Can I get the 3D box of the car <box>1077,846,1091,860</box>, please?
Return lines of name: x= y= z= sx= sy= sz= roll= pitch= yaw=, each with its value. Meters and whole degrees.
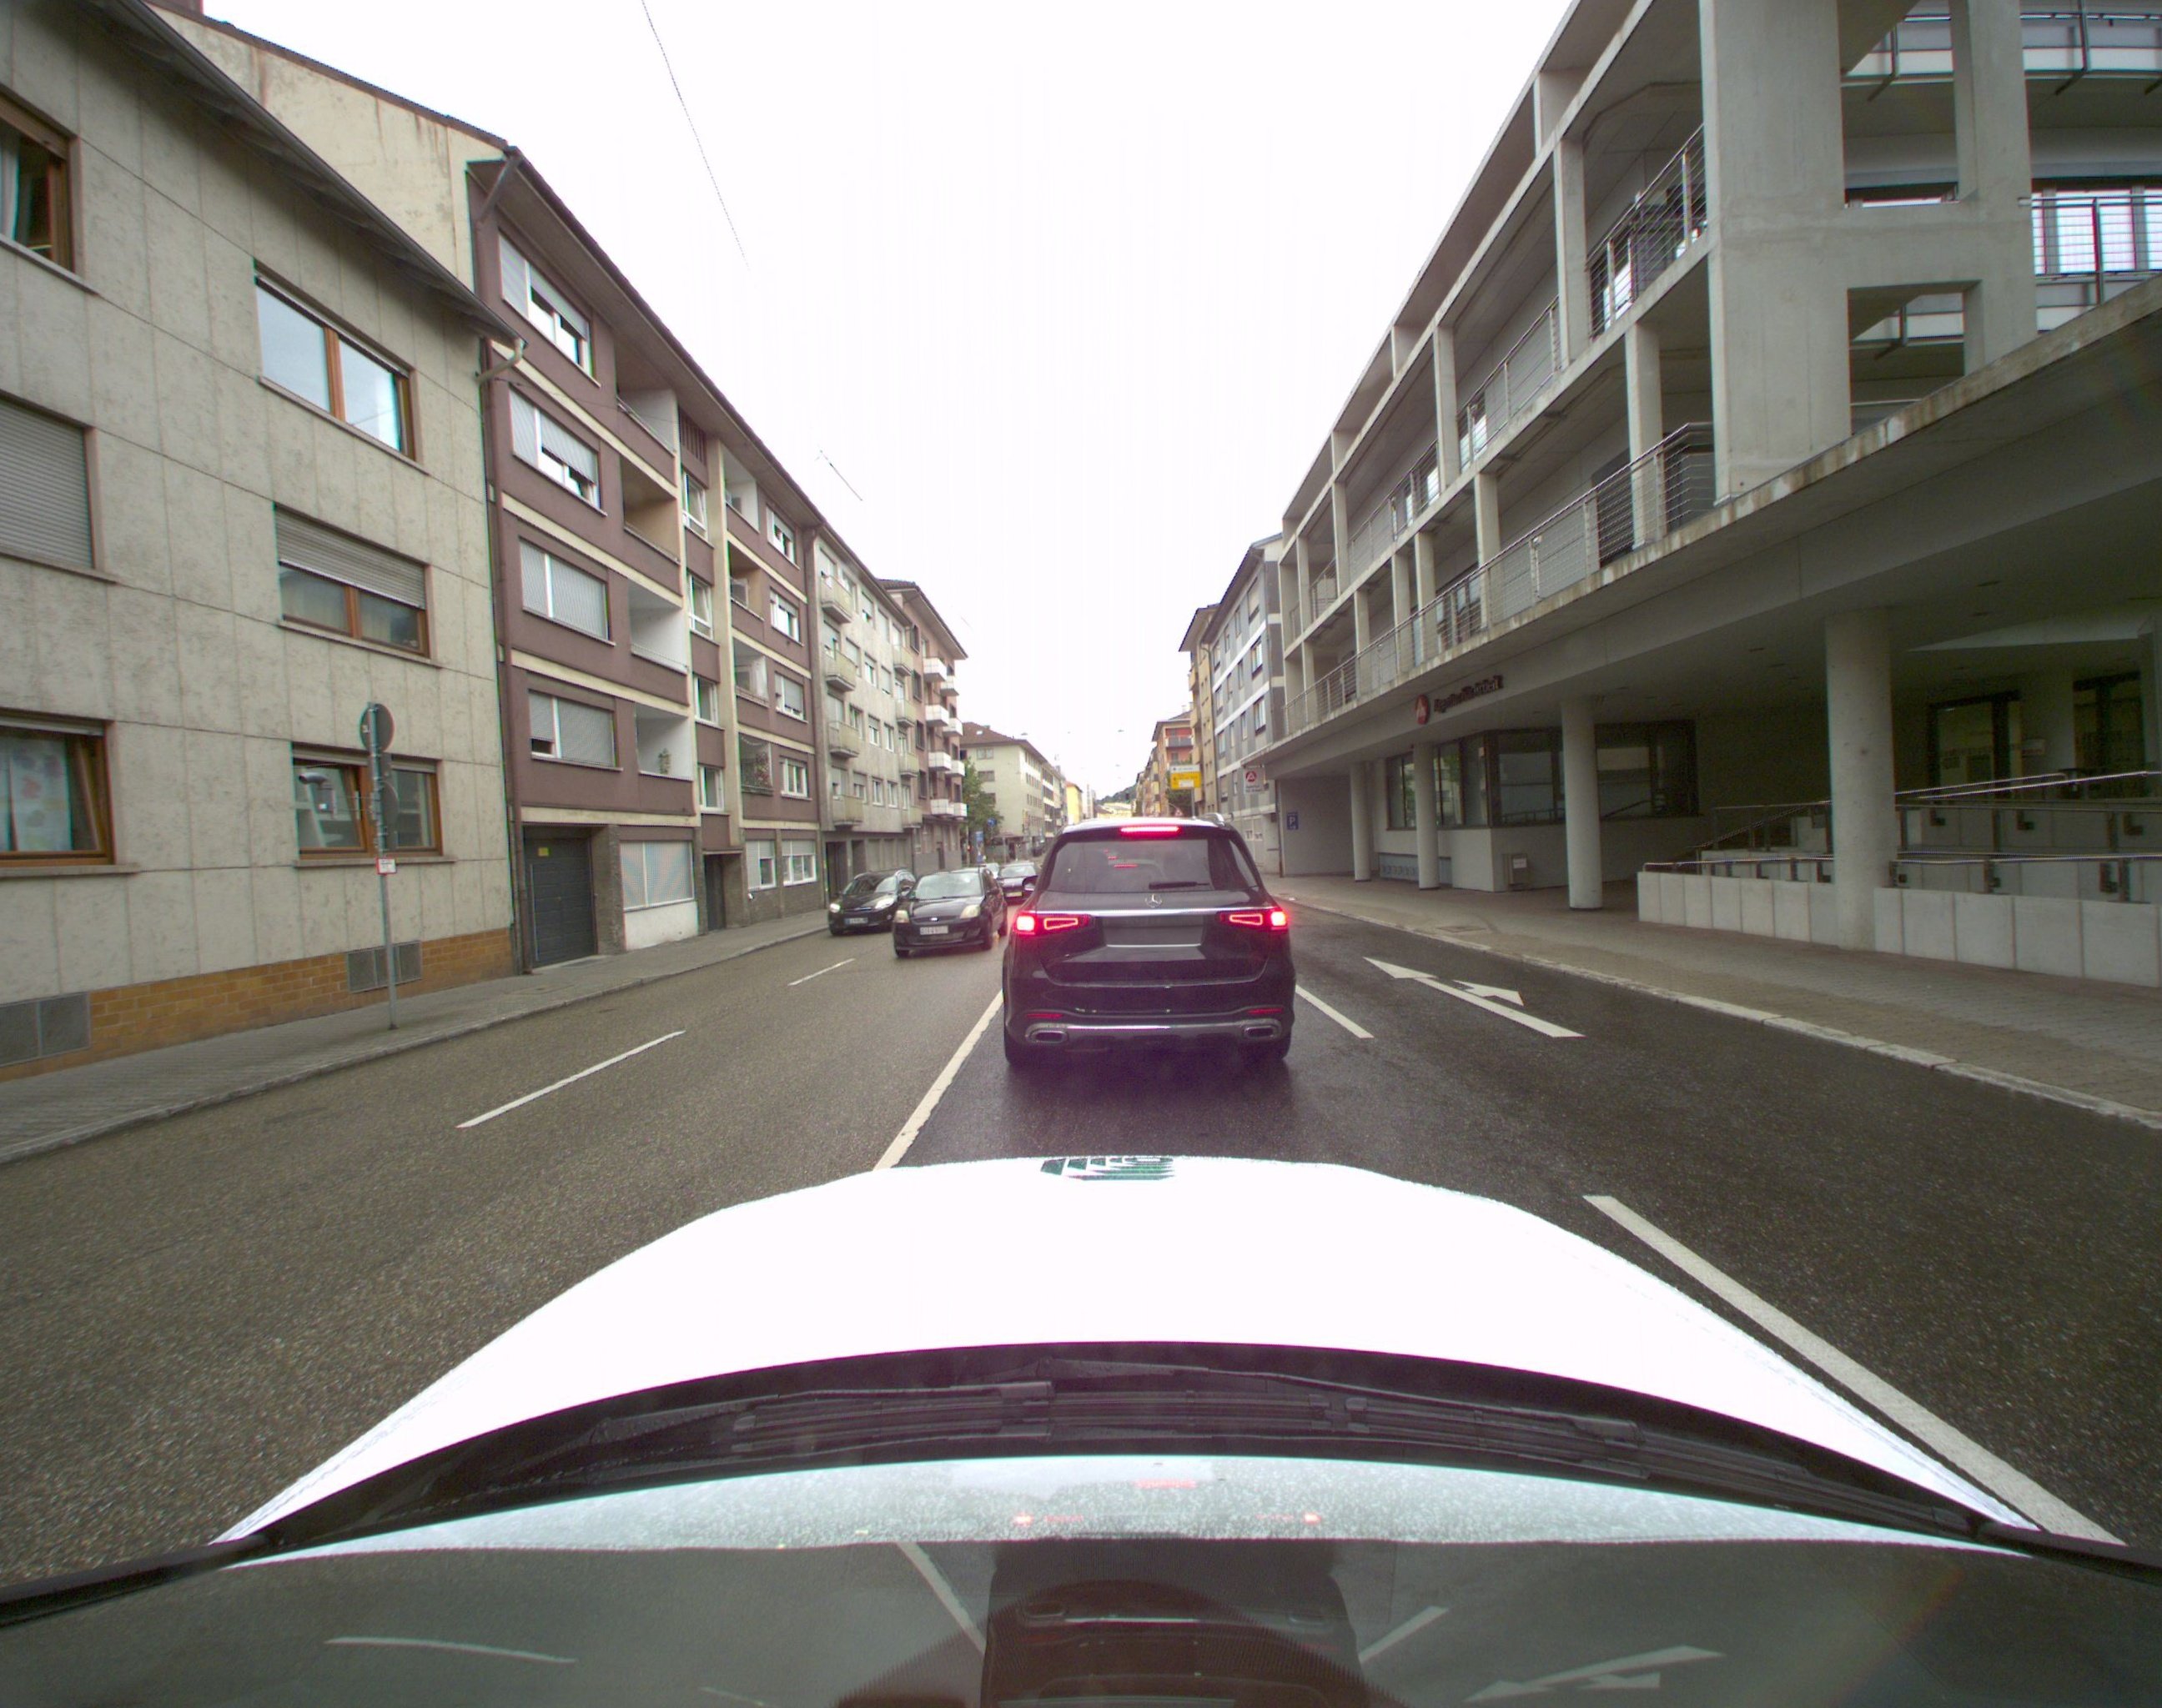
car: x=0.393 y=-0.128 z=101.431 sx=1.613 sy=1.539 sz=4.216 roll=-5 pitch=-1 yaw=0

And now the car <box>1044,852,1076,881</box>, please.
car: x=-1.240 y=0.747 z=49.739 sx=1.689 sy=1.580 sz=4.218 roll=-5 pitch=-1 yaw=1

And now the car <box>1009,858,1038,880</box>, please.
car: x=-4.009 y=1.025 z=57.536 sx=1.593 sy=1.370 sz=4.362 roll=-6 pitch=0 yaw=1

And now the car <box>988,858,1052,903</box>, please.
car: x=-2.098 y=0.901 z=29.001 sx=1.688 sy=1.370 sz=4.220 roll=-5 pitch=-1 yaw=2

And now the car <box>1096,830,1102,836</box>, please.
car: x=5.562 y=-6.353 z=250.456 sx=1.613 sy=1.539 sz=4.216 roll=-5 pitch=-1 yaw=0

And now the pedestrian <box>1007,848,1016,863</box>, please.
pedestrian: x=-8.701 y=0.186 z=102.293 sx=0.920 sy=1.902 sz=0.706 roll=-3 pitch=0 yaw=0

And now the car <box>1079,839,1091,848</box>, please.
car: x=0.652 y=-1.796 z=140.312 sx=1.879 sy=1.264 sz=4.216 roll=-5 pitch=-1 yaw=0

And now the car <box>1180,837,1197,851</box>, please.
car: x=12.486 y=-1.163 z=94.539 sx=1.664 sy=1.588 sz=3.334 roll=-3 pitch=0 yaw=4

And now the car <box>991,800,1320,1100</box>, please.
car: x=0.517 y=0.600 z=7.138 sx=1.977 sy=1.805 sz=4.391 roll=0 pitch=-1 yaw=2

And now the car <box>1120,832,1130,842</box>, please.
car: x=7.985 y=-3.121 z=147.888 sx=1.613 sy=1.539 sz=4.216 roll=-5 pitch=-1 yaw=0

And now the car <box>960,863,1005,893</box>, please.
car: x=-5.147 y=1.228 z=42.908 sx=1.689 sy=1.370 sz=4.366 roll=-5 pitch=-1 yaw=0

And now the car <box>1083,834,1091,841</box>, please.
car: x=1.465 y=-3.934 z=193.972 sx=1.613 sy=1.539 sz=4.216 roll=-5 pitch=-1 yaw=0

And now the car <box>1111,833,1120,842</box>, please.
car: x=7.106 y=-3.408 z=167.156 sx=1.613 sy=1.539 sz=4.216 roll=-5 pitch=-1 yaw=0

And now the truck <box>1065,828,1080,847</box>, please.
truck: x=-1.589 y=-3.158 z=157.372 sx=2.472 sy=3.046 sz=9.917 roll=-5 pitch=-1 yaw=0

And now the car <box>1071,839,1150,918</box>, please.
car: x=0.674 y=0.586 z=20.959 sx=1.746 sy=1.731 sz=4.216 roll=-3 pitch=-1 yaw=0

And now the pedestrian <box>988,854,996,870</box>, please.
pedestrian: x=-10.076 y=0.924 z=92.240 sx=0.633 sy=1.764 sz=0.773 roll=-3 pitch=0 yaw=0

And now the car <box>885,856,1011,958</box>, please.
car: x=-2.363 y=0.893 z=15.489 sx=1.613 sy=1.539 sz=4.216 roll=-5 pitch=-1 yaw=0

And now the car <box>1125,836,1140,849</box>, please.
car: x=6.784 y=-1.497 z=107.793 sx=1.613 sy=1.387 sz=4.216 roll=-5 pitch=-1 yaw=0

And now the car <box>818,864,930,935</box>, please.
car: x=-5.337 y=1.123 z=21.613 sx=1.717 sy=1.473 sz=4.374 roll=-5 pitch=0 yaw=0

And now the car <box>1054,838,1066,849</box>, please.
car: x=-3.377 y=-1.694 z=131.948 sx=1.613 sy=1.539 sz=4.216 roll=-5 pitch=-1 yaw=0
